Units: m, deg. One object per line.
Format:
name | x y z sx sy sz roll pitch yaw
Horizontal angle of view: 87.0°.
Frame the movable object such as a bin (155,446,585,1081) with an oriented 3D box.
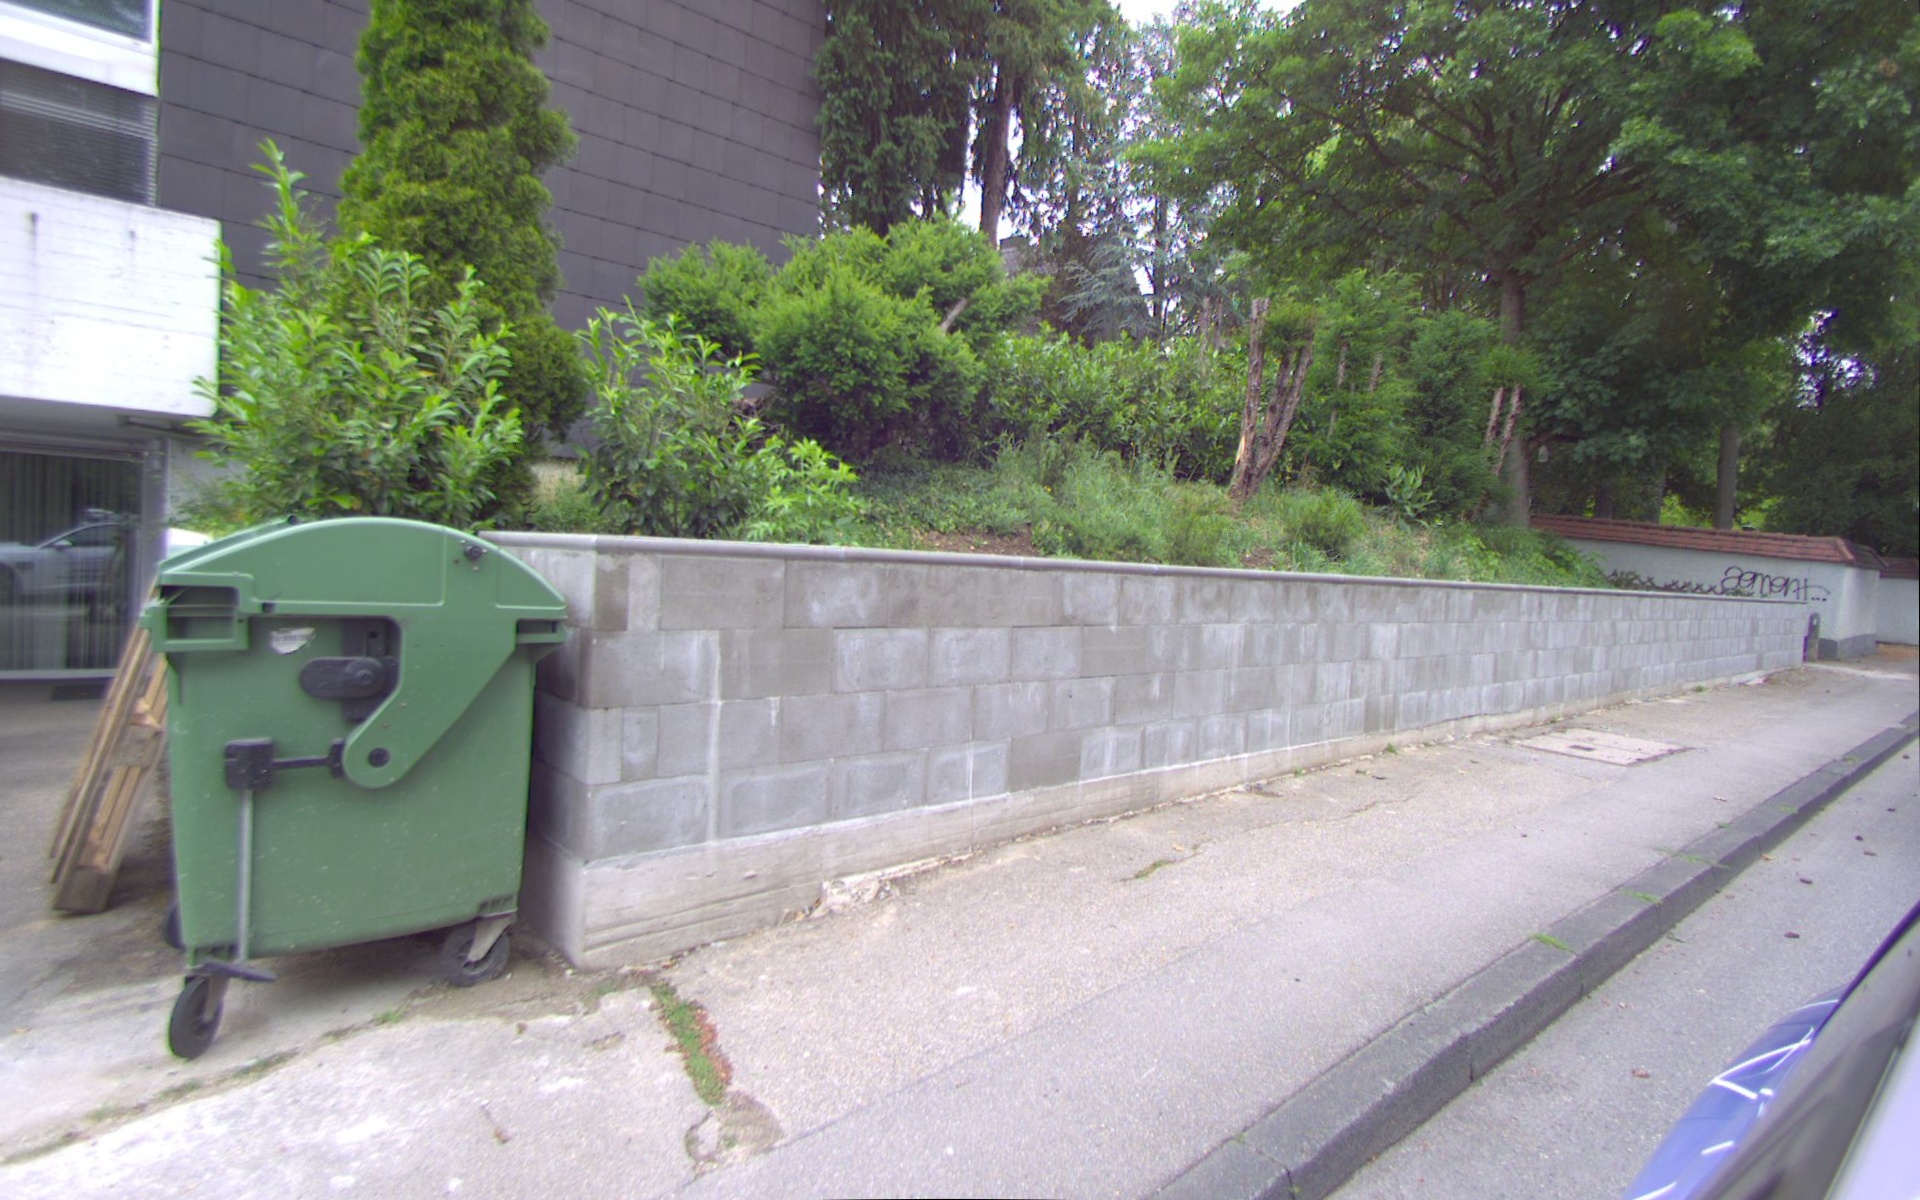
movable object such as a bin | -1.875 0.377 3.185 1.014 1.549 1.037 0 2 -39
